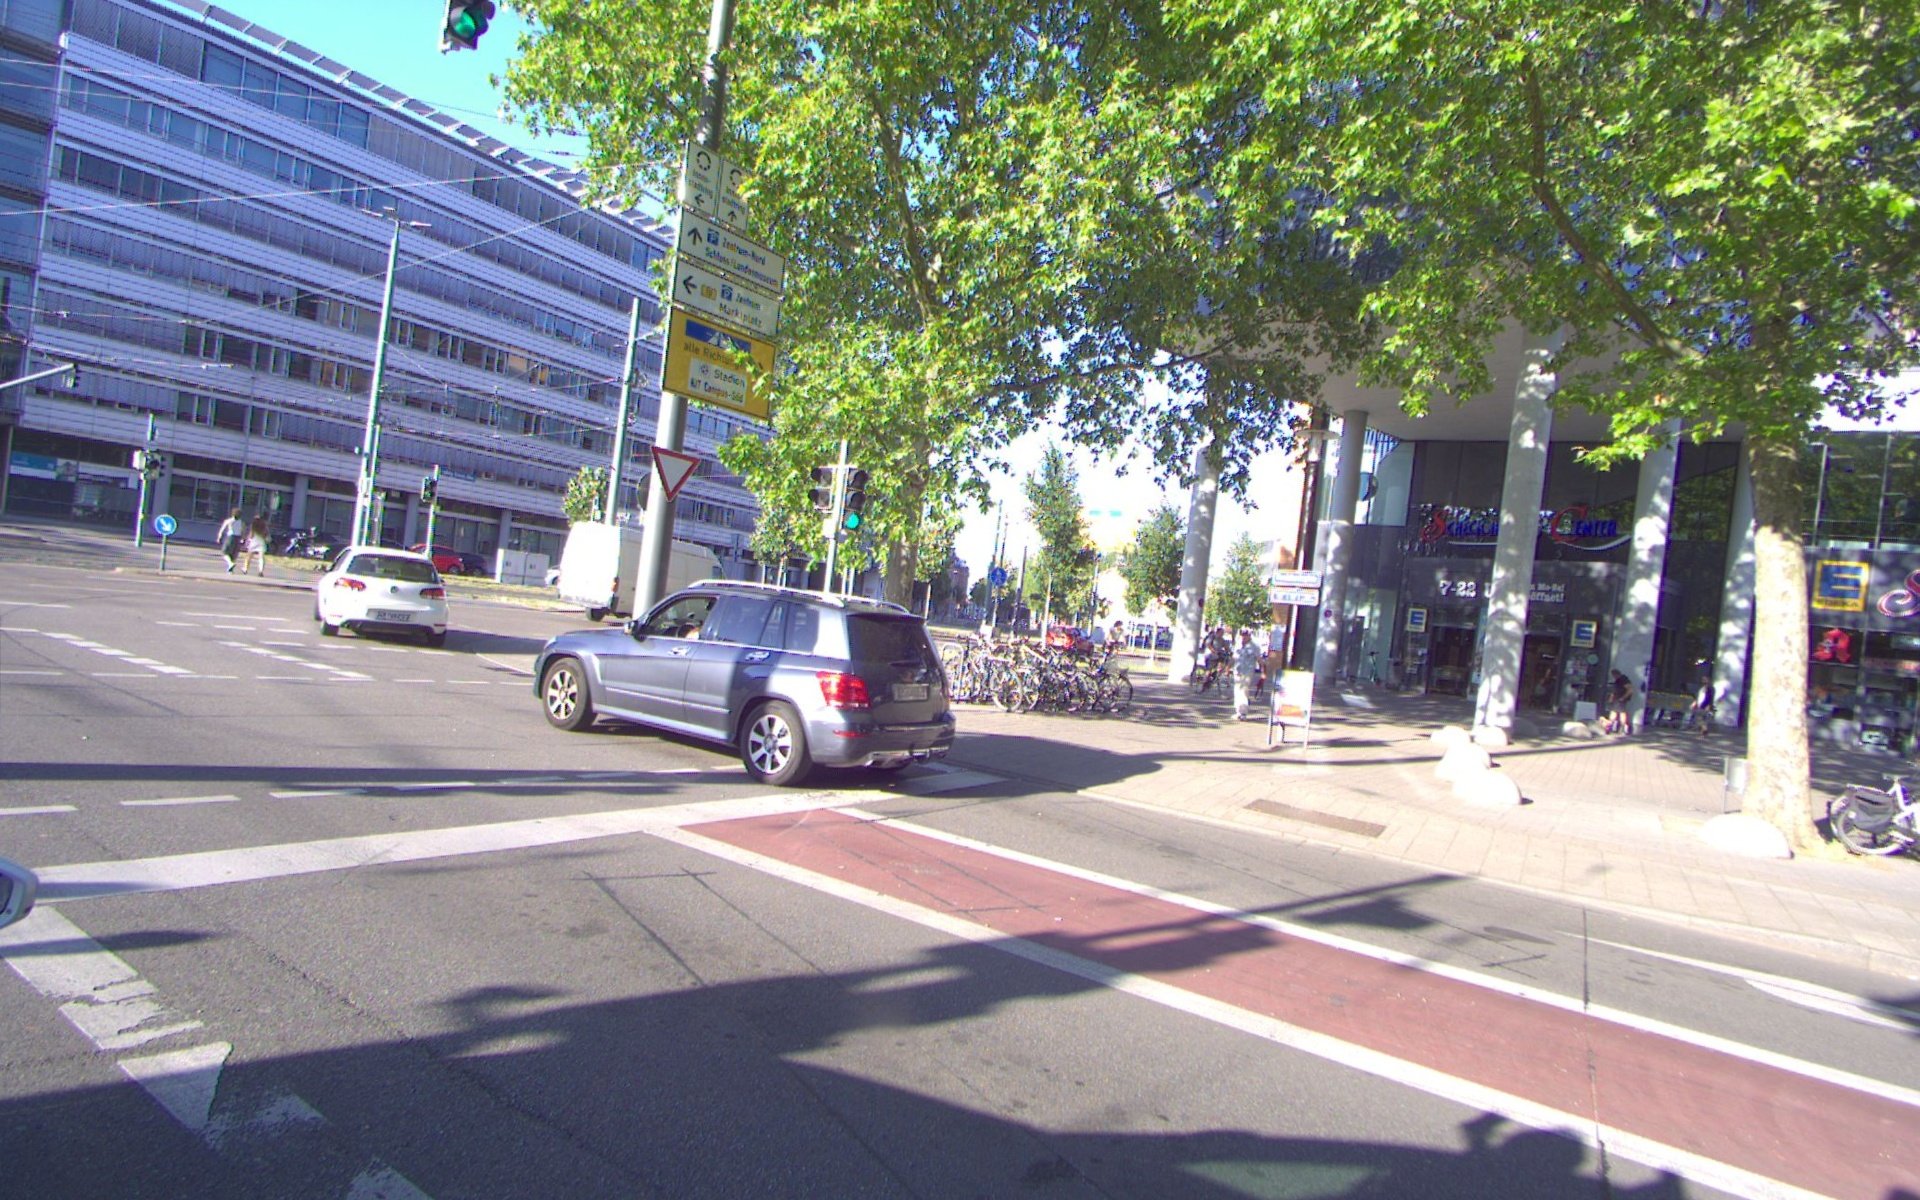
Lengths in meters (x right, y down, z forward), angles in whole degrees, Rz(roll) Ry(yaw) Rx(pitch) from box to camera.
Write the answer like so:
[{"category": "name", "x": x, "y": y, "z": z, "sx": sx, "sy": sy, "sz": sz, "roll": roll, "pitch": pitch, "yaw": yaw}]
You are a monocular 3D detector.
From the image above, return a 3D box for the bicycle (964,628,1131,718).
[{"category": "bicycle", "x": 1.564, "y": 1.306, "z": 18.312, "sx": 2.896, "sy": 1.252, "sz": 0.705, "roll": 6, "pitch": -1, "yaw": 31}]

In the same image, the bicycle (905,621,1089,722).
[{"category": "bicycle", "x": 0.558, "y": 1.133, "z": 16.332, "sx": 2.896, "sy": 1.243, "sz": 0.686, "roll": 6, "pitch": -1, "yaw": 31}]

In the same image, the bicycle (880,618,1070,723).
[{"category": "bicycle", "x": 0.189, "y": 1.075, "z": 15.710, "sx": 2.896, "sy": 1.252, "sz": 0.705, "roll": 6, "pitch": -1, "yaw": 31}]

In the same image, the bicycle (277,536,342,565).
[{"category": "bicycle", "x": -30.053, "y": -2.275, "z": 46.504, "sx": 0.627, "sy": 1.035, "sz": 2.410, "roll": 7, "pitch": 0, "yaw": 36}]

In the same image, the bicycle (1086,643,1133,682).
[{"category": "bicycle", "x": 4.572, "y": 1.897, "z": 30.910, "sx": 0.735, "sy": 0.964, "sz": 2.097, "roll": 6, "pitch": 1, "yaw": -9}]

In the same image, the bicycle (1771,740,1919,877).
[{"category": "bicycle", "x": 10.740, "y": 2.326, "z": 10.235, "sx": 3.759, "sy": 1.234, "sz": 0.756, "roll": 5, "pitch": -2, "yaw": 38}]

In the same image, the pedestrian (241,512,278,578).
[{"category": "pedestrian", "x": -19.791, "y": -1.550, "z": 28.450, "sx": 0.678, "sy": 1.781, "sz": 0.735, "roll": 6, "pitch": 1, "yaw": -33}]

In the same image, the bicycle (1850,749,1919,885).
[{"category": "bicycle", "x": 10.173, "y": 2.221, "z": 9.490, "sx": 2.514, "sy": 1.234, "sz": 0.756, "roll": 5, "pitch": -2, "yaw": 37}]

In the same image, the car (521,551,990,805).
[{"category": "car", "x": -2.038, "y": 0.629, "z": 9.614, "sx": 4.180, "sy": 1.655, "sz": 1.767, "roll": 7, "pitch": -1, "yaw": 32}]

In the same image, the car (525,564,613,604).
[{"category": "car", "x": -21.235, "y": -0.855, "z": 54.783, "sx": 1.852, "sy": 1.614, "sz": 3.991, "roll": 6, "pitch": -2, "yaw": 35}]

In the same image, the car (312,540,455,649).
[{"category": "car", "x": -9.842, "y": -0.158, "z": 17.039, "sx": 1.626, "sy": 1.445, "sz": 3.949, "roll": 8, "pitch": -1, "yaw": -35}]

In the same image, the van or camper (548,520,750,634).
[{"category": "van or camper", "x": -8.755, "y": -0.514, "z": 29.190, "sx": 1.969, "sy": 2.646, "sz": 6.500, "roll": 7, "pitch": 0, "yaw": 18}]

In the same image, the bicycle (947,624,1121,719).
[{"category": "bicycle", "x": 1.265, "y": 1.237, "z": 17.617, "sx": 2.896, "sy": 1.251, "sz": 0.705, "roll": 6, "pitch": -3, "yaw": 31}]

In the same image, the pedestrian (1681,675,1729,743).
[{"category": "pedestrian", "x": 20.581, "y": 3.002, "z": 27.800, "sx": 0.824, "sy": 1.765, "sz": 0.644, "roll": 7, "pitch": 1, "yaw": 32}]

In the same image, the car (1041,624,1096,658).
[{"category": "car", "x": 5.957, "y": 2.259, "z": 54.973, "sx": 1.470, "sy": 1.476, "sz": 3.591, "roll": 7, "pitch": -2, "yaw": 32}]

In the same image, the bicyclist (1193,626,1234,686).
[{"category": "bicyclist", "x": 6.758, "y": 1.488, "z": 26.845, "sx": 0.586, "sy": 1.504, "sz": 0.745, "roll": 4, "pitch": 2, "yaw": -32}]

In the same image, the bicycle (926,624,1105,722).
[{"category": "bicycle", "x": 0.894, "y": 1.203, "z": 16.967, "sx": 2.896, "sy": 1.252, "sz": 0.705, "roll": 6, "pitch": -1, "yaw": 32}]

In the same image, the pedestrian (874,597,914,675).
[{"category": "pedestrian", "x": -1.451, "y": 0.799, "z": 22.122, "sx": 0.523, "sy": 1.644, "sz": 0.543, "roll": 7, "pitch": 1, "yaw": 19}]

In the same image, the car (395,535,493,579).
[{"category": "car", "x": -26.427, "y": -2.192, "z": 51.587, "sx": 1.769, "sy": 1.569, "sz": 3.990, "roll": 6, "pitch": -2, "yaw": 36}]

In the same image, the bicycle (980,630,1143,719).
[{"category": "bicycle", "x": 1.875, "y": 1.380, "z": 18.954, "sx": 2.896, "sy": 1.250, "sz": 0.698, "roll": 6, "pitch": -4, "yaw": 31}]

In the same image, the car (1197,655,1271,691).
[{"category": "car", "x": 15.467, "y": 4.114, "z": 56.657, "sx": 4.179, "sy": 1.476, "sz": 1.736, "roll": 9, "pitch": -1, "yaw": -38}]

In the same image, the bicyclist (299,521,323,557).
[{"category": "bicyclist", "x": -29.989, "y": -2.822, "z": 46.499, "sx": 0.604, "sy": 1.521, "sz": 0.663, "roll": 7, "pitch": 1, "yaw": 37}]

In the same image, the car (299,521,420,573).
[{"category": "car", "x": -27.359, "y": -2.377, "z": 45.922, "sx": 1.854, "sy": 1.744, "sz": 4.256, "roll": 7, "pitch": 0, "yaw": 34}]

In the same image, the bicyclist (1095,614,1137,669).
[{"category": "bicyclist", "x": 4.758, "y": 1.252, "z": 30.738, "sx": 0.794, "sy": 1.585, "sz": 1.029, "roll": 7, "pitch": -1, "yaw": -10}]

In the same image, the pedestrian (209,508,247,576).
[{"category": "pedestrian", "x": -20.252, "y": -1.614, "z": 27.852, "sx": 0.673, "sy": 1.781, "sz": 0.735, "roll": 6, "pitch": 1, "yaw": -34}]

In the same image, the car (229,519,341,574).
[{"category": "car", "x": -33.585, "y": -2.631, "z": 50.143, "sx": 1.967, "sy": 2.037, "sz": 3.995, "roll": 6, "pitch": -2, "yaw": 32}]

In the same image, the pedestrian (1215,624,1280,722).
[{"category": "pedestrian", "x": 5.980, "y": 1.512, "z": 20.947, "sx": 0.800, "sy": 1.913, "sz": 0.871, "roll": 5, "pitch": 1, "yaw": -16}]

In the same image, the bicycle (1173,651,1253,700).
[{"category": "bicycle", "x": 6.718, "y": 2.004, "z": 26.851, "sx": 0.595, "sy": 1.028, "sz": 2.176, "roll": 4, "pitch": 2, "yaw": -32}]

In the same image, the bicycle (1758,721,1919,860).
[{"category": "bicycle", "x": 11.150, "y": 2.330, "z": 10.894, "sx": 3.757, "sy": 1.235, "sz": 0.727, "roll": 10, "pitch": 1, "yaw": 38}]
